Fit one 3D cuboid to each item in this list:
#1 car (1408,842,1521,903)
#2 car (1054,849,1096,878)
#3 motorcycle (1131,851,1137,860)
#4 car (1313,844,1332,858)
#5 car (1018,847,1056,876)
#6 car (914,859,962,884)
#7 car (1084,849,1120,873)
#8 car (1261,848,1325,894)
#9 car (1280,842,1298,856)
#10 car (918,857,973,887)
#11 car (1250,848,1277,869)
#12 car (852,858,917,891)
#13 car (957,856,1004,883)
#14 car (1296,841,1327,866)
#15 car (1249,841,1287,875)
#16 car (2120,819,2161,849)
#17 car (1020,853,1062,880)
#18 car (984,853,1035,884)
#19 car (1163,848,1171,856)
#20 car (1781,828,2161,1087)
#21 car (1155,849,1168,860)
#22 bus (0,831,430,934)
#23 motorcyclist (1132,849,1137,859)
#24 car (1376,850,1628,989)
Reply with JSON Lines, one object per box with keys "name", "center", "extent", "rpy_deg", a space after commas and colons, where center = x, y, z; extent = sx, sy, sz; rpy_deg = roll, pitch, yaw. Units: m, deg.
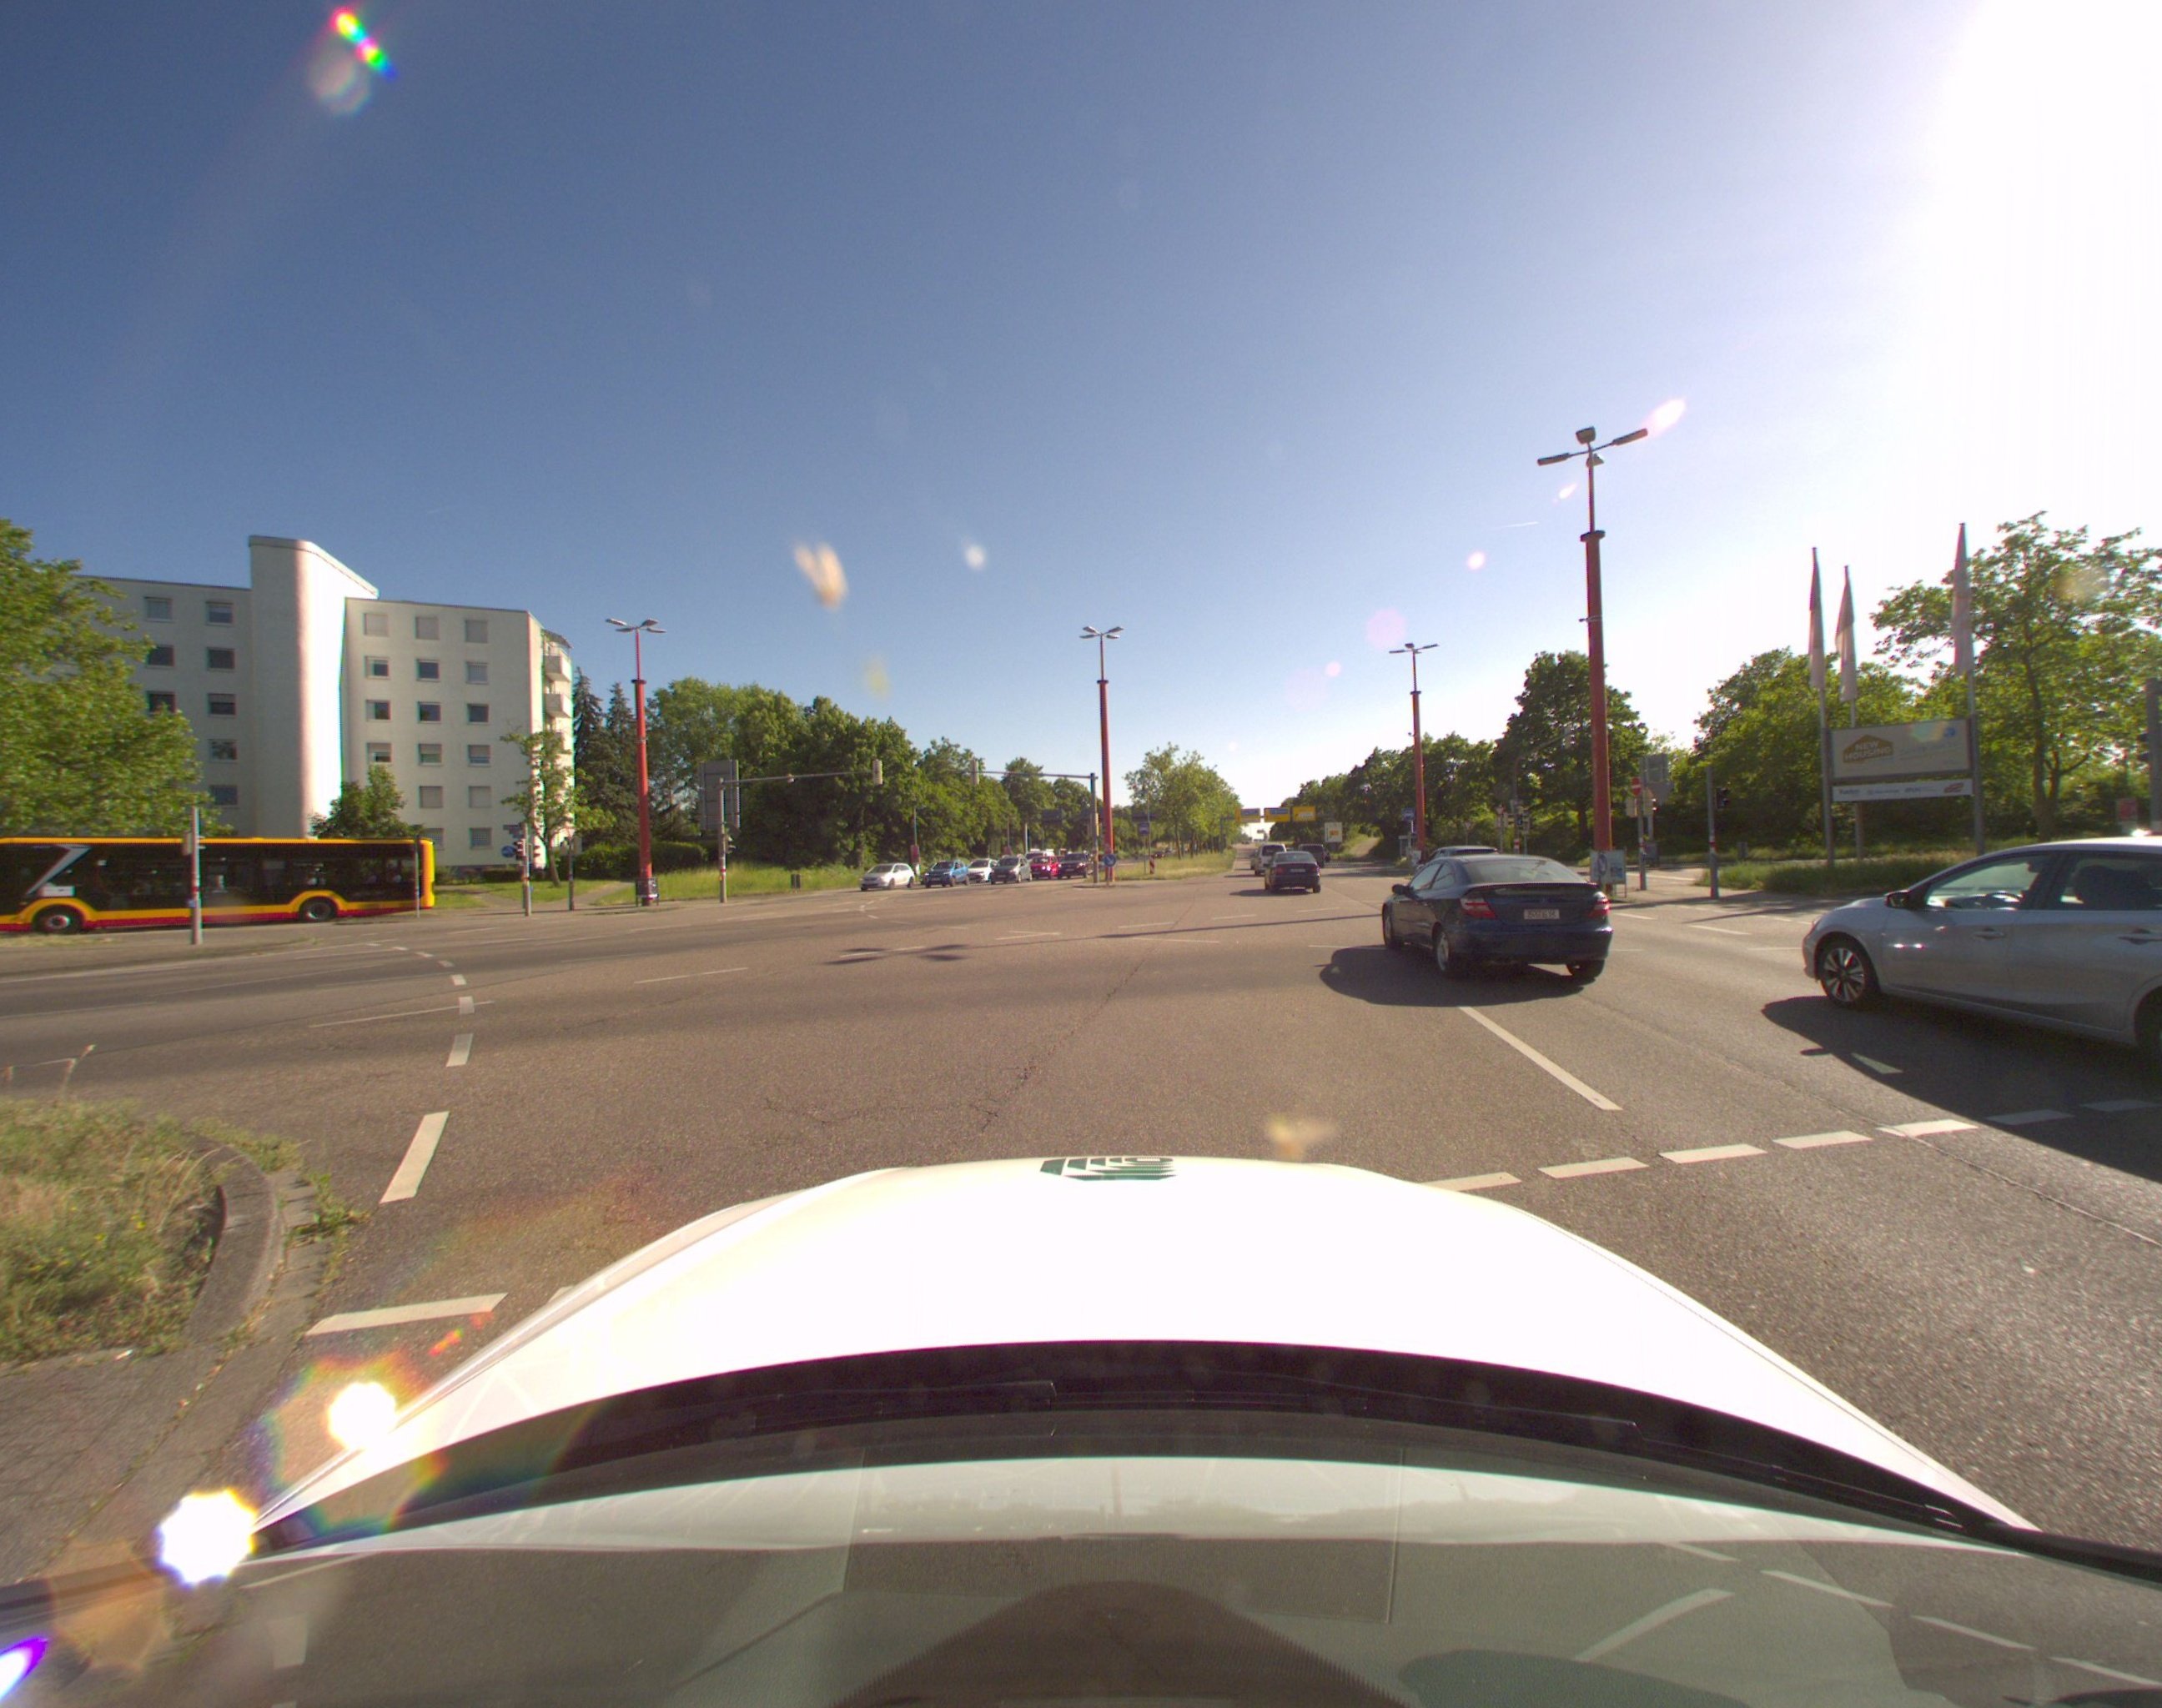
{"name": "car", "center": [10.290, 0.459, 22.180], "extent": [1.757, 1.508, 4.238], "rpy_deg": [0, 0, 10]}
{"name": "car", "center": [-0.324, 0.527, 49.899], "extent": [1.783, 1.626, 4.154], "rpy_deg": [-3, 0, 9]}
{"name": "motorcycle", "center": [9.944, 0.328, 151.604], "extent": [0.754, 1.609, 2.876], "rpy_deg": [0, 0, 11]}
{"name": "car", "center": [27.288, -0.304, 92.127], "extent": [1.585, 1.491, 3.692], "rpy_deg": [0, 0, 10]}
{"name": "car", "center": [-3.463, 0.585, 65.116], "extent": [1.950, 2.155, 5.095], "rpy_deg": [-2, 0, 9]}
{"name": "car", "center": [-9.660, 1.141, 55.396], "extent": [1.873, 1.513, 4.012], "rpy_deg": [-3, 0, 11]}
{"name": "car", "center": [1.535, 0.491, 57.194], "extent": [1.874, 1.543, 4.011], "rpy_deg": [-3, 0, 10]}
{"name": "car", "center": [7.472, 0.553, 29.061], "extent": [1.703, 1.454, 4.207], "rpy_deg": [-2, 0, 8]}
{"name": "car", "center": [23.691, -0.545, 92.809], "extent": [1.705, 1.608, 3.858], "rpy_deg": [0, 0, 10]}
{"name": "car", "center": [-7.548, 0.978, 45.765], "extent": [1.790, 1.515, 3.870], "rpy_deg": [-3, 0, 10]}
{"name": "car", "center": [13.661, 0.326, 61.114], "extent": [1.793, 1.493, 4.696], "rpy_deg": [0, 0, 11]}
{"name": "car", "center": [-11.040, 1.114, 46.053], "extent": [1.865, 1.652, 4.231], "rpy_deg": [-3, -1, 11]}
{"name": "car", "center": [-6.350, 0.946, 51.818], "extent": [1.890, 1.555, 4.009], "rpy_deg": [-3, 0, 8]}
{"name": "car", "center": [18.076, -0.028, 64.092], "extent": [1.793, 1.852, 5.118], "rpy_deg": [-2, 0, 10]}
{"name": "car", "center": [10.845, 0.221, 47.397], "extent": [1.794, 1.821, 4.598], "rpy_deg": [-1, 0, 9]}
{"name": "car", "center": [58.291, -1.063, 43.500], "extent": [4.127, 1.517, 1.859], "rpy_deg": [0, 0, -12]}
{"name": "car", "center": [-2.515, 0.779, 52.557], "extent": [1.864, 1.552, 4.009], "rpy_deg": [-5, -1, 8]}
{"name": "car", "center": [-4.000, 0.768, 46.360], "extent": [1.863, 1.550, 4.038], "rpy_deg": [-3, 0, 9]}
{"name": "car", "center": [23.007, -0.547, 218.457], "extent": [1.903, 1.846, 3.972], "rpy_deg": [-2, 0, 10]}
{"name": "car", "center": [7.365, 0.591, 5.827], "extent": [1.711, 1.517, 4.149], "rpy_deg": [0, 0, 10]}
{"name": "car", "center": [14.060, 0.103, 142.622], "extent": [1.909, 1.846, 3.961], "rpy_deg": [-2, 0, 1]}
{"name": "bus", "center": [-31.722, 0.897, 29.465], "extent": [12.604, 3.261, 2.622], "rpy_deg": [0, 0, -43]}
{"name": "motorcyclist", "center": [9.947, 0.022, 151.645], "extent": [0.768, 1.738, 0.918], "rpy_deg": [0, 0, 10]}
{"name": "car", "center": [5.090, 0.684, 10.480], "extent": [1.708, 1.420, 4.061], "rpy_deg": [-1, 0, 10]}
